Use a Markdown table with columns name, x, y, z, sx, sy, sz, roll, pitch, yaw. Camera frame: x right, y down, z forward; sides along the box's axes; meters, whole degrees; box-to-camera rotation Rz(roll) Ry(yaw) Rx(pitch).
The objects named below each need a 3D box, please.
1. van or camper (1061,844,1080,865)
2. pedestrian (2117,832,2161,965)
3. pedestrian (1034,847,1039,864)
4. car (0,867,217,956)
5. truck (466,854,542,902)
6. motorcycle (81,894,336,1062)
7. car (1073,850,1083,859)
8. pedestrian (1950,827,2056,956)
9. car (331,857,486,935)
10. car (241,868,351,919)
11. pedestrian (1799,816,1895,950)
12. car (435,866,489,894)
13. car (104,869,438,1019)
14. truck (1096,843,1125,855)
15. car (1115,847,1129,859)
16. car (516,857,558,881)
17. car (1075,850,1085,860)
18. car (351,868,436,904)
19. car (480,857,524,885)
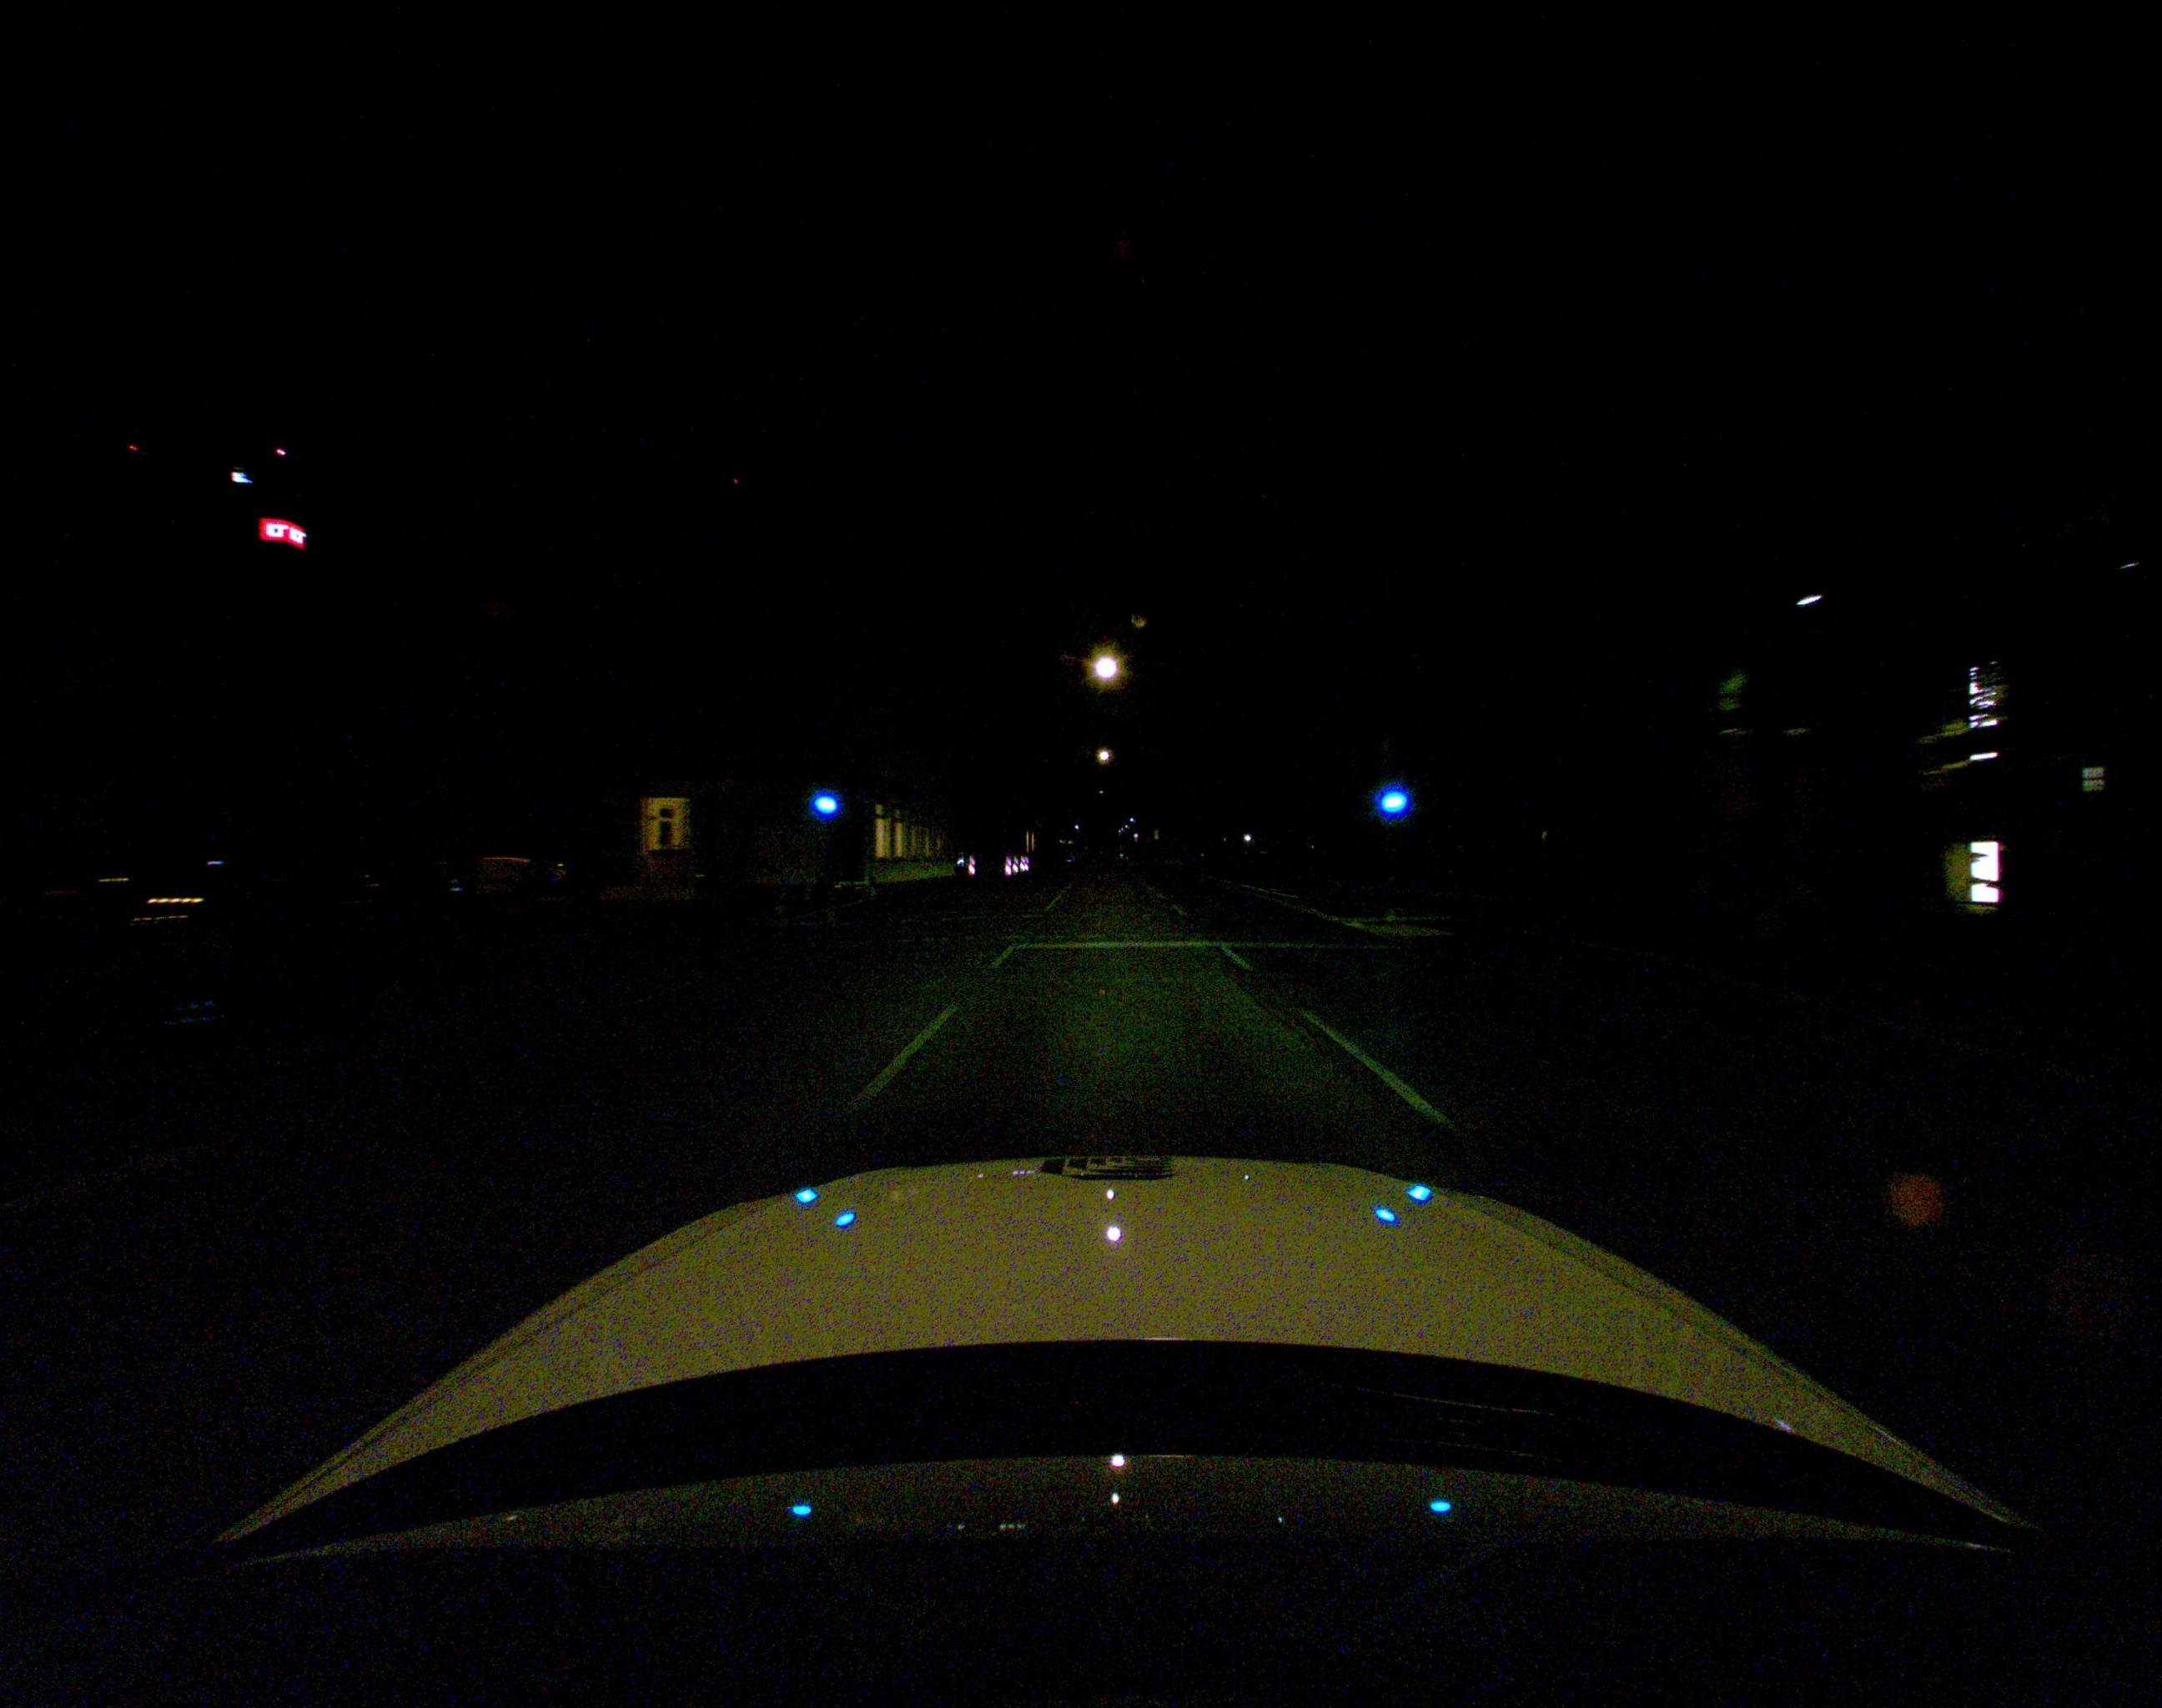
| name | x | y | z | sx | sy | sz | roll | pitch | yaw |
| --- | --- | --- | --- | --- | --- | --- | --- | --- | --- |
| van or camper | -1.367 | 0.024 | 105.268 | 2.150 | 2.535 | 6.227 | -3 | 0 | 1 |
| pedestrian | 12.724 | 0.504 | 9.448 | 0.570 | 1.533 | 0.634 | -1 | 0 | 1 |
| pedestrian | -4.479 | 0.192 | 82.033 | 0.415 | 1.708 | 0.440 | -1 | -1 | -12 |
| car | -20.999 | 1.145 | 17.593 | 1.847 | 1.613 | 4.222 | -2 | 0 | -27 |
| truck | -23.576 | 0.953 | 33.422 | 1.900 | 1.807 | 4.077 | -1 | -1 | -27 |
| motorcycle | -7.654 | 0.999 | 7.300 | 0.573 | 1.179 | 2.021 | -1 | 0 | -16 |
| car | -0.484 | 0.168 | 138.791 | 1.699 | 1.510 | 4.100 | 0 | -1 | 1 |
| pedestrian | 12.155 | 0.478 | 10.756 | 0.619 | 1.639 | 0.679 | -1 | 0 | 1 |
| car | -15.780 | 0.929 | 19.378 | 1.924 | 1.644 | 4.075 | 2 | -1 | -27 |
| car | -26.611 | 1.278 | 27.743 | 1.609 | 1.489 | 3.527 | -2 | 1 | -25 |
| pedestrian | 10.719 | 0.395 | 11.416 | 0.619 | 1.811 | 0.759 | -1 | 0 | 1 |
| car | -35.444 | 1.460 | 46.717 | 1.724 | 1.496 | 3.554 | -1 | 0 | -25 |
| car | -10.045 | 0.937 | 10.618 | 1.898 | 1.424 | 4.684 | -1 | 0 | -30 |
| truck | 6.966 | -1.239 | 193.379 | 6.758 | 2.844 | 1.999 | 0 | 0 | -2 |
| car | 5.904 | -0.068 | 115.692 | 1.876 | 1.603 | 4.111 | -2 | 0 | 3 |
| car | -41.942 | 1.169 | 62.832 | 1.905 | 1.735 | 3.970 | -1 | -1 | -22 |
| car | -0.133 | 0.184 | 144.641 | 1.671 | 1.566 | 4.106 | -1 | -1 | 1 |
| car | -31.219 | 1.420 | 37.113 | 1.890 | 1.449 | 3.968 | -1 | 0 | -24 |
| car | -39.981 | 1.121 | 56.334 | 1.804 | 1.809 | 3.967 | -1 | 0 | -25 |
